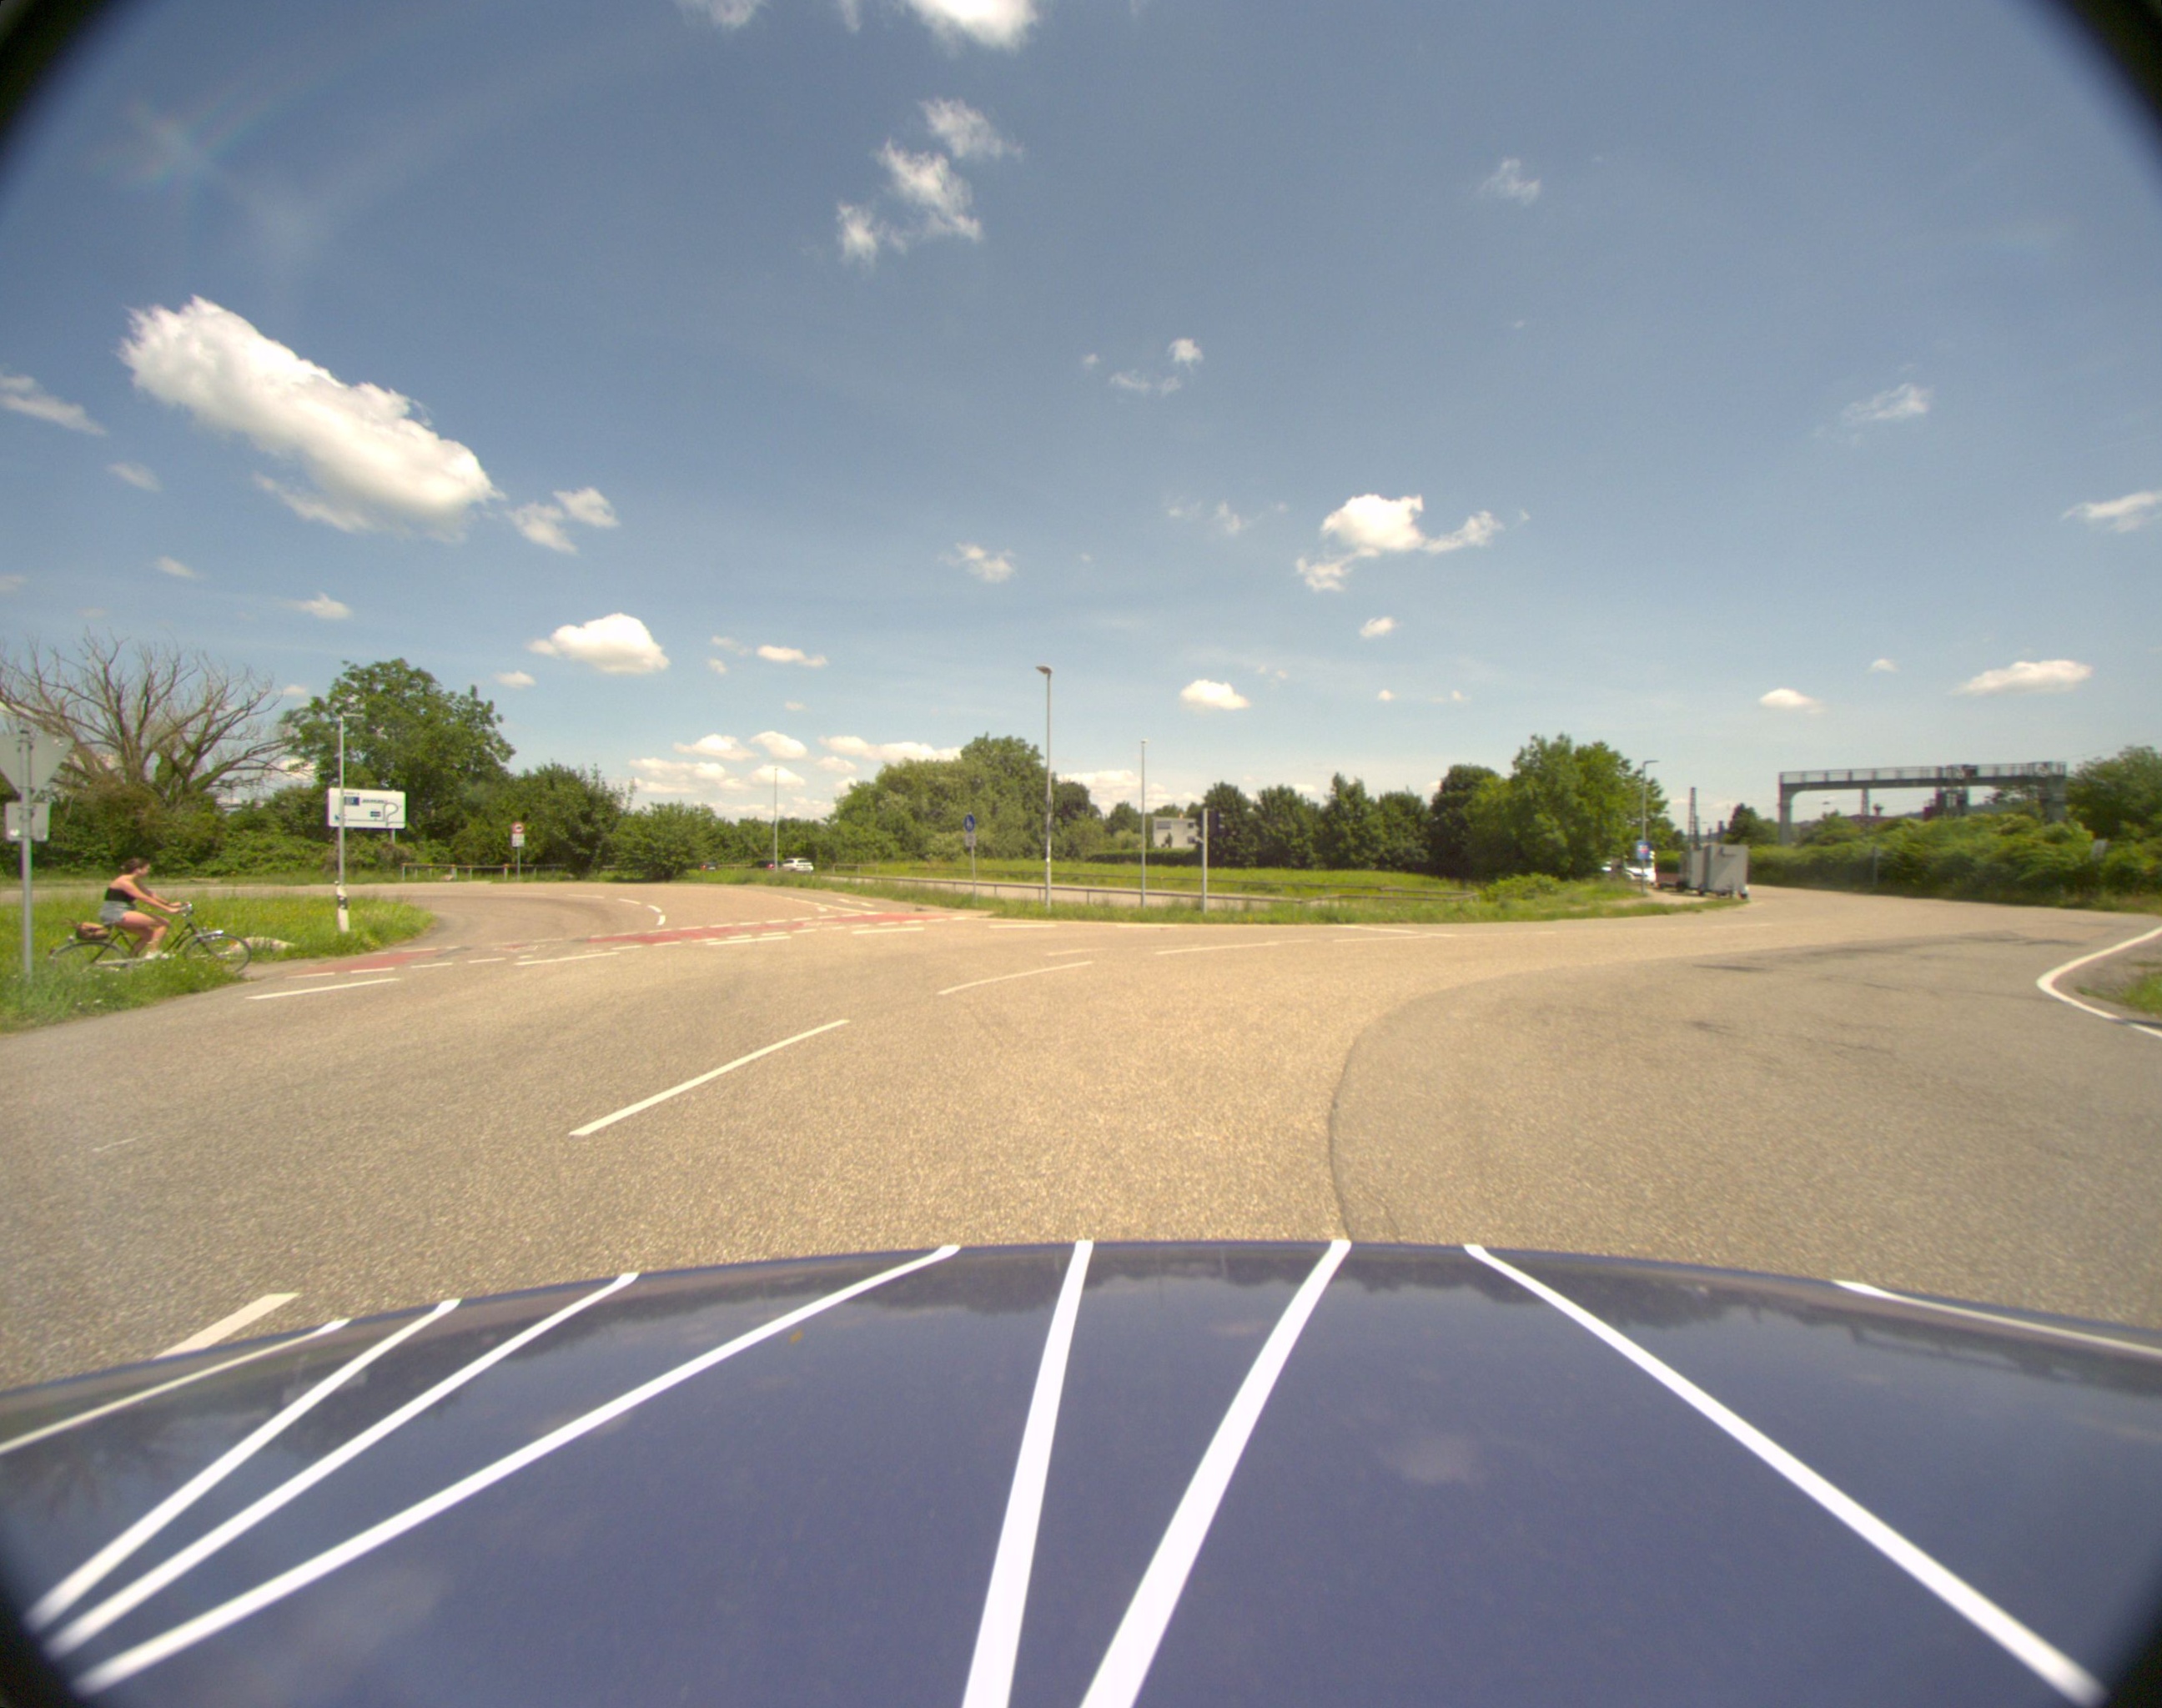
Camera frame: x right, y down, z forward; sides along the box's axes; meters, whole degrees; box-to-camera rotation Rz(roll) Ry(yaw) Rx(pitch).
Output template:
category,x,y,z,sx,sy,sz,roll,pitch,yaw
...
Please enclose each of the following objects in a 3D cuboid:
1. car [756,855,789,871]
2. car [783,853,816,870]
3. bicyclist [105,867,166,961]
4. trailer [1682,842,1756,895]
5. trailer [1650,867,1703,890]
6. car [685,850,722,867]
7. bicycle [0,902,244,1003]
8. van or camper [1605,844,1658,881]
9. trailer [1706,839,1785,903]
category,x,y,z,sx,sy,sz,roll,pitch,yaw
car,-26.914,0.755,66.277,3.109,1.330,1.421,-1,0,41
car,-25.389,0.698,68.573,3.109,1.495,1.421,-1,0,40
bicyclist,-13.147,0.813,10.574,0.468,1.248,0.512,0,1,40
trailer,33.026,0.706,39.498,1.919,2.494,4.750,3,2,29
trailer,36.374,1.488,46.524,2.005,1.117,4.497,3,2,31
car,-30.834,0.384,62.051,3.109,1.330,1.421,-1,0,37
bicycle,-13.239,1.300,10.552,0.659,1.158,2.151,1,0,40
van or camper,45.298,0.651,62.689,2.440,2.810,7.638,2,1,28
trailer,30.107,0.711,34.601,1.933,2.629,5.194,4,2,34
